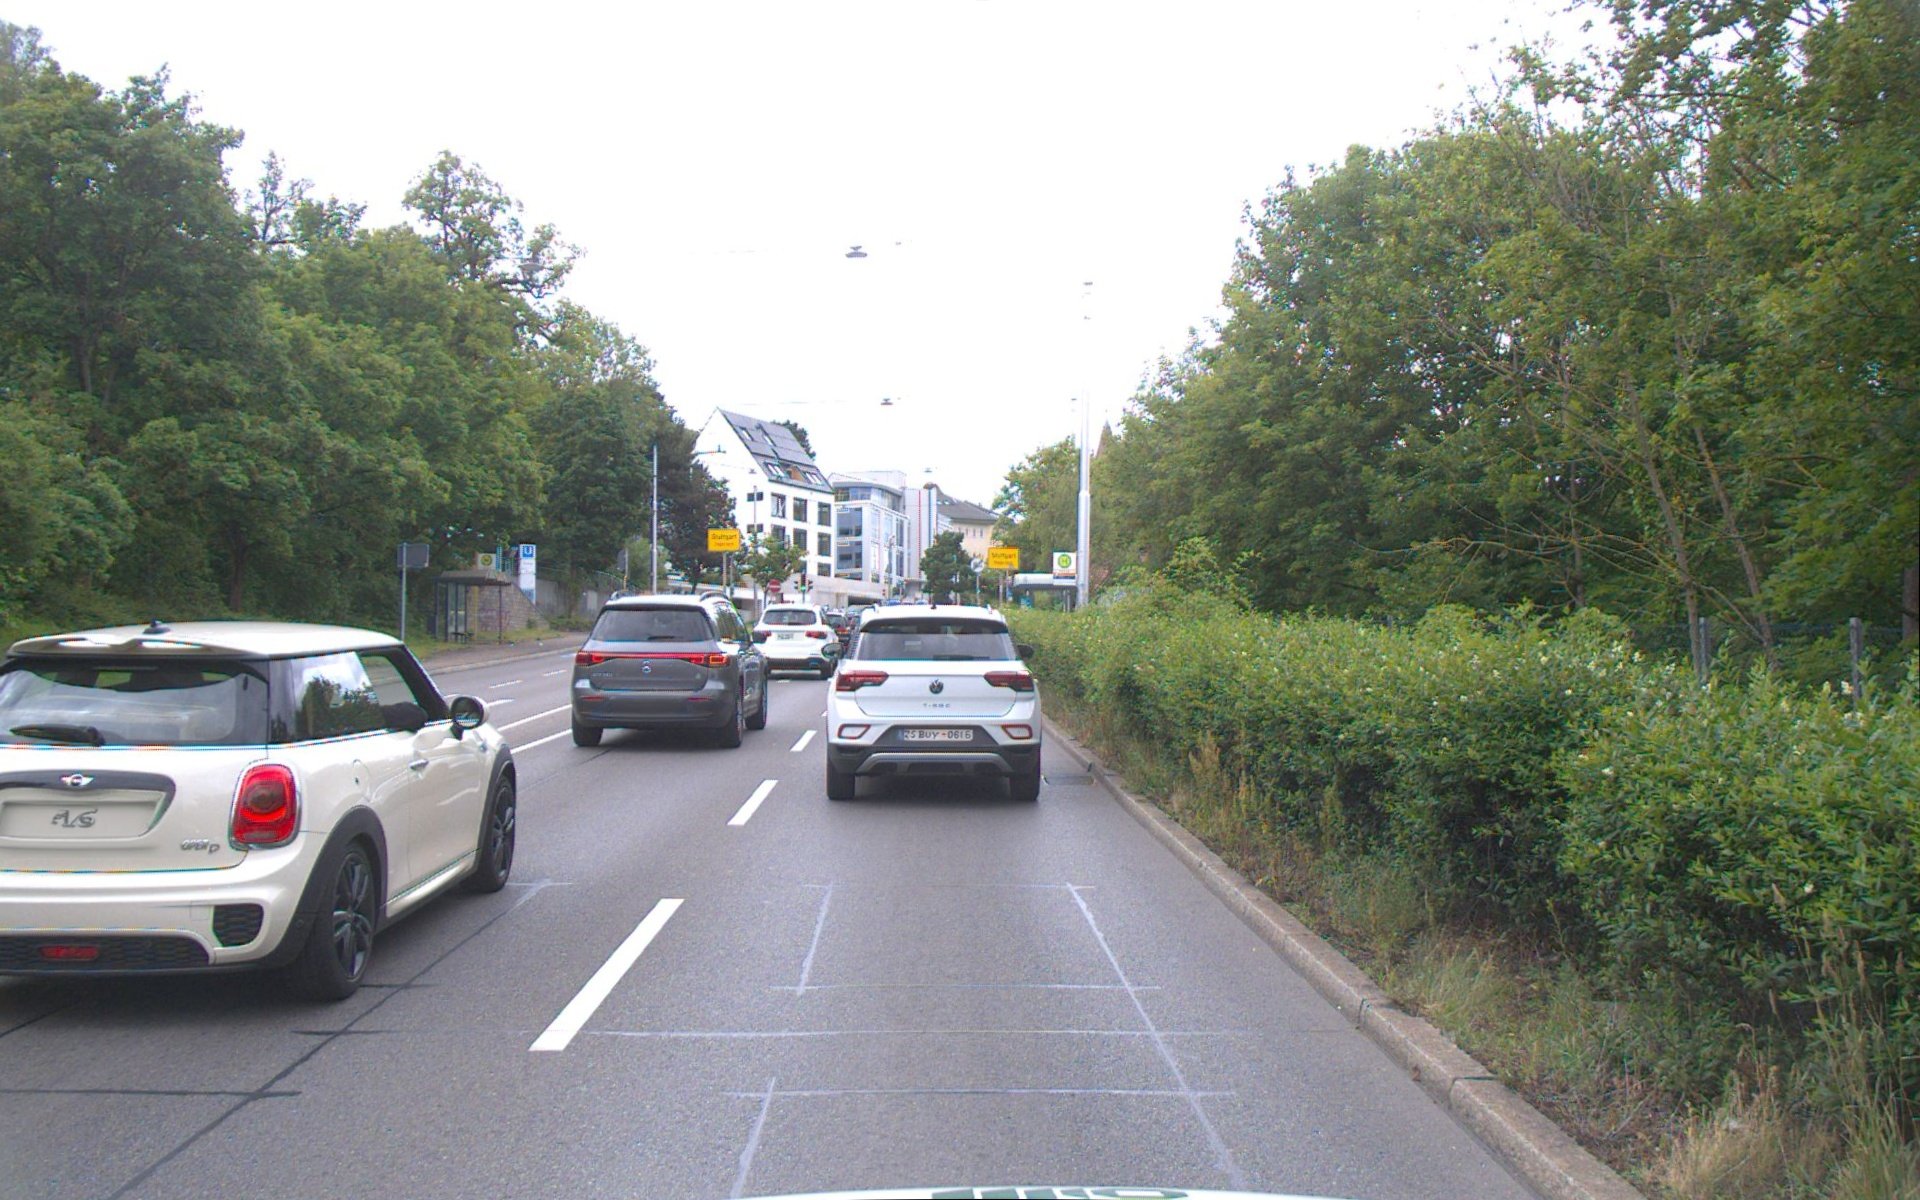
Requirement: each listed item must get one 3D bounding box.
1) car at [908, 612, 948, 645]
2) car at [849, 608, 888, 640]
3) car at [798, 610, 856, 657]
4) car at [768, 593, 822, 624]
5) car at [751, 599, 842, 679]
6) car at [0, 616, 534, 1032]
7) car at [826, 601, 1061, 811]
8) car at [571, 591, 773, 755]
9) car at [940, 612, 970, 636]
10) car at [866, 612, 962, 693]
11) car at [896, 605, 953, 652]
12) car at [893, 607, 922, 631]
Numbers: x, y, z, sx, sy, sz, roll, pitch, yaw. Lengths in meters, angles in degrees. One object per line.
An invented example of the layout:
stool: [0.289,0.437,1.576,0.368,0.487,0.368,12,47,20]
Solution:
car: [-1.564,1.358,79.903,1.821,1.527,4.053,0,0,-3]
car: [-4.387,1.143,79.848,1.821,1.527,4.053,0,0,-3]
car: [-4.443,1.110,55.905,1.821,1.527,4.053,0,0,-3]
car: [-14.079,0.745,141.851,2.184,2.613,7.427,0,0,14]
car: [-3.672,0.853,37.802,1.821,1.681,4.633,0,0,-3]
car: [-3.116,0.792,7.510,1.595,1.418,3.564,0,0,-3]
car: [-0.216,0.817,14.402,1.775,1.566,3.687,0,-1,-3]
car: [-3.243,0.770,19.441,1.776,1.681,4.633,0,0,-3]
car: [-0.346,1.555,106.962,1.820,1.527,4.054,-1,0,-2]
car: [-0.982,1.025,33.727,1.821,1.527,4.053,0,0,-3]
car: [-1.234,1.020,59.489,1.835,1.527,4.555,3,-1,1]
car: [-3.450,1.220,108.389,1.821,1.527,4.053,0,0,-3]
